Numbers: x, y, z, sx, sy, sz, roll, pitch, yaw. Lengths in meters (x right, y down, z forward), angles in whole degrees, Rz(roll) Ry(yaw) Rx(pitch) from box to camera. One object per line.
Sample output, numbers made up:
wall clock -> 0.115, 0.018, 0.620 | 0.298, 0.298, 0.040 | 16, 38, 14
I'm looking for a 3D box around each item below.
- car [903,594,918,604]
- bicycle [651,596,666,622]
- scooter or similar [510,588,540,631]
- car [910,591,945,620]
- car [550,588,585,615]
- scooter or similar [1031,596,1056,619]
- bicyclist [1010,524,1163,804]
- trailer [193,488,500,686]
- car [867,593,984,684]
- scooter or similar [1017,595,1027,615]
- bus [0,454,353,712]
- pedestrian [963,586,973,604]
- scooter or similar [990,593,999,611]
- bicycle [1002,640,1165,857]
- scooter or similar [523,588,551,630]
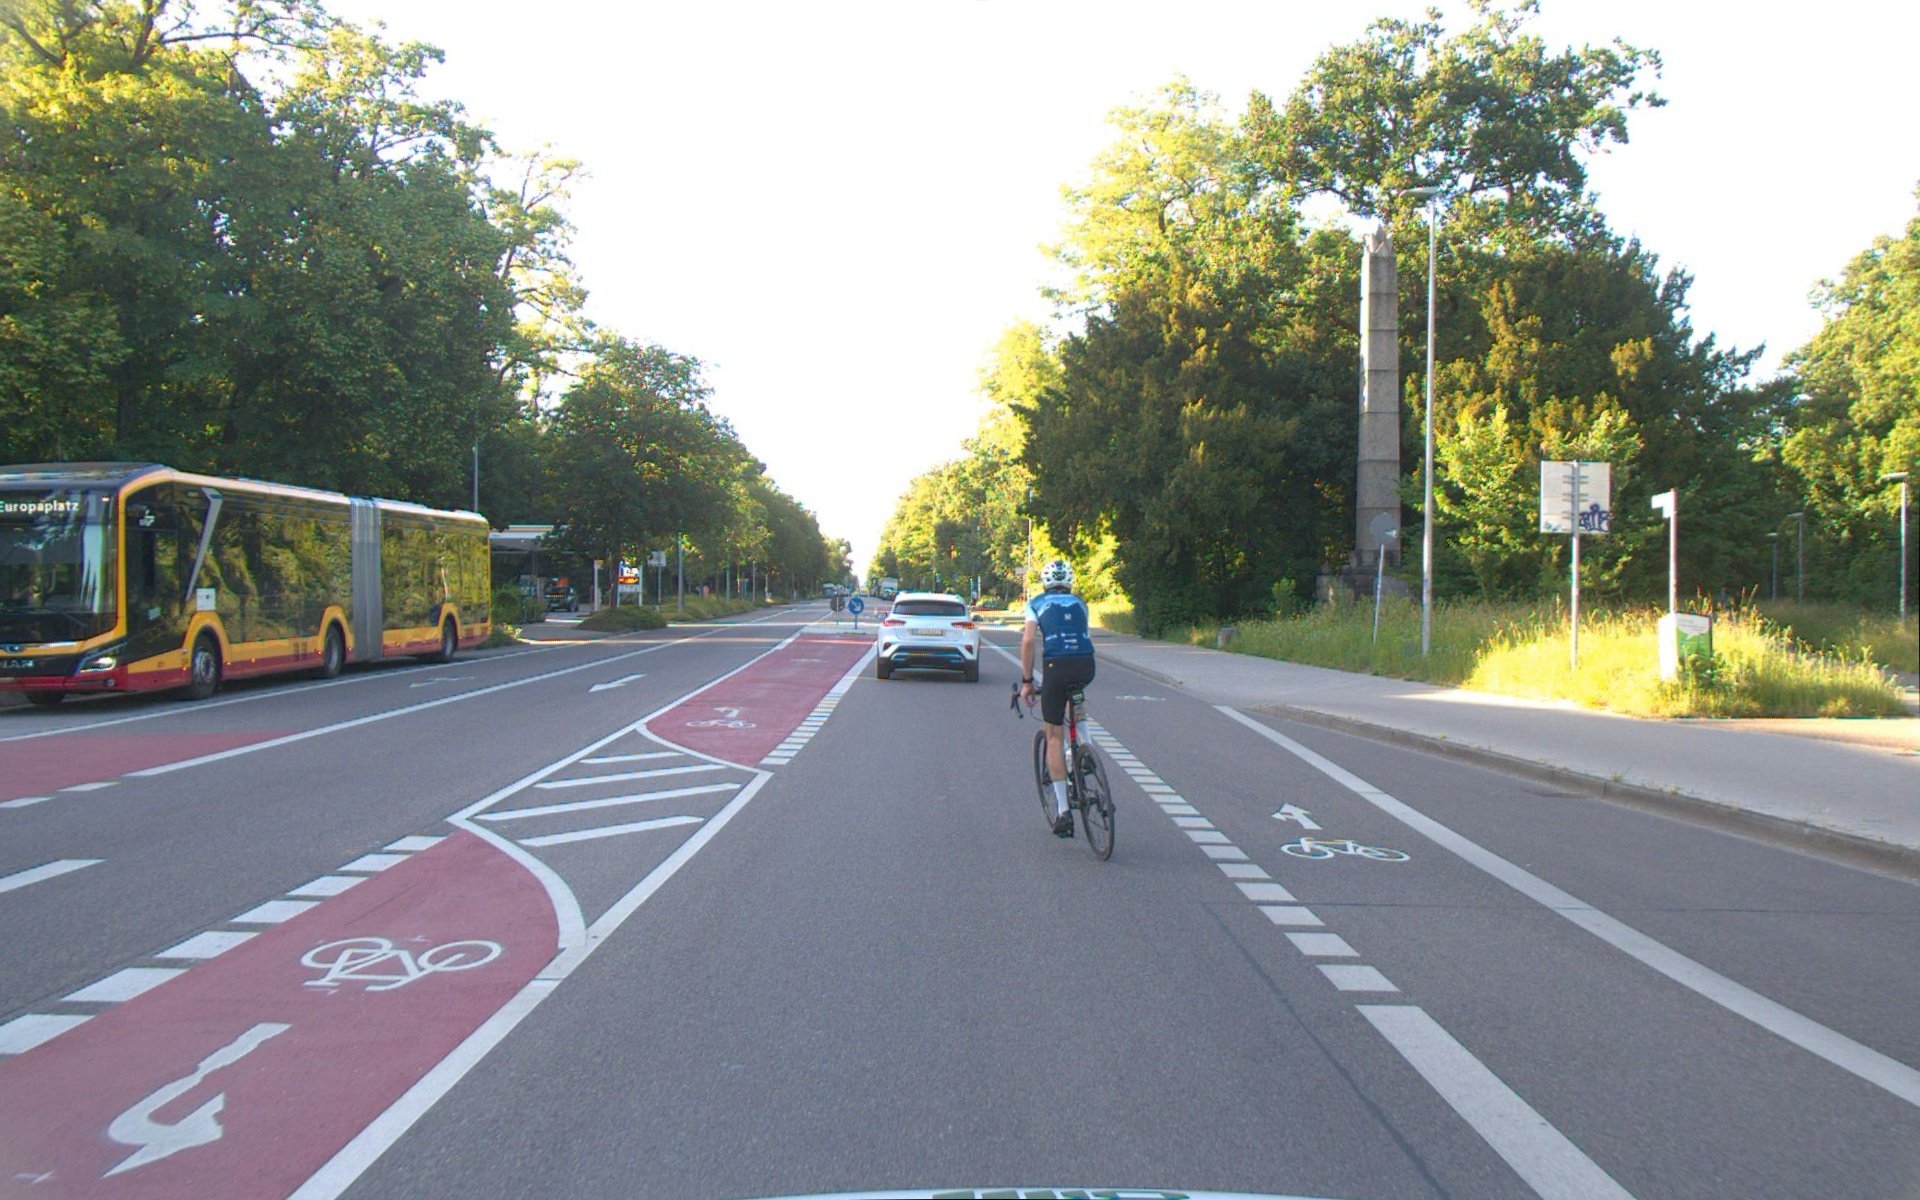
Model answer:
car -> -6.534, -0.165, 217.614 | 1.954, 1.350, 3.997 | 0, 0, -4
bicycle -> -15.168, 0.438, 83.145 | 0.642, 1.272, 2.156 | 0, 0, -8
scooter or similar -> -17.661, 0.368, 67.252 | 0.811, 1.747, 1.740 | 0, 0, -2
car -> -1.627, 0.288, 84.274 | 1.642, 1.442, 3.574 | 0, 0, 1
car -> -25.388, 0.102, 106.987 | 1.678, 1.721, 4.447 | 0, 0, -7
scooter or similar -> 4.643, 0.433, 92.053 | 0.525, 1.272, 1.531 | 0, 0, 43
bicyclist -> 0.749, 0.367, 10.011 | 0.842, 1.594, 0.881 | 2, 0, 2
trailer -> -12.212, -0.227, 34.114 | 2.796, 3.414, 9.361 | 2, 0, 0
car -> -0.689, 0.644, 29.783 | 1.728, 1.485, 3.812 | 2, 0, -6
scooter or similar -> 4.126, 0.337, 109.894 | 0.522, 1.272, 1.540 | 0, 0, -3
bus -> -12.152, -0.230, 25.142 | 2.782, 3.252, 8.598 | 0, 0, -1
pedestrian -> 0.689, -0.423, 142.078 | 0.740, 1.591, 0.802 | 0, 0, -4
scooter or similar -> 2.822, 0.178, 135.615 | 0.668, 1.448, 1.680 | 0, 0, -3
bicycle -> 0.736, 0.850, 10.284 | 0.872, 1.114, 2.137 | 2, 0, 3
scooter or similar -> -17.688, 0.371, 69.195 | 0.811, 1.747, 1.740 | 0, 0, -2
